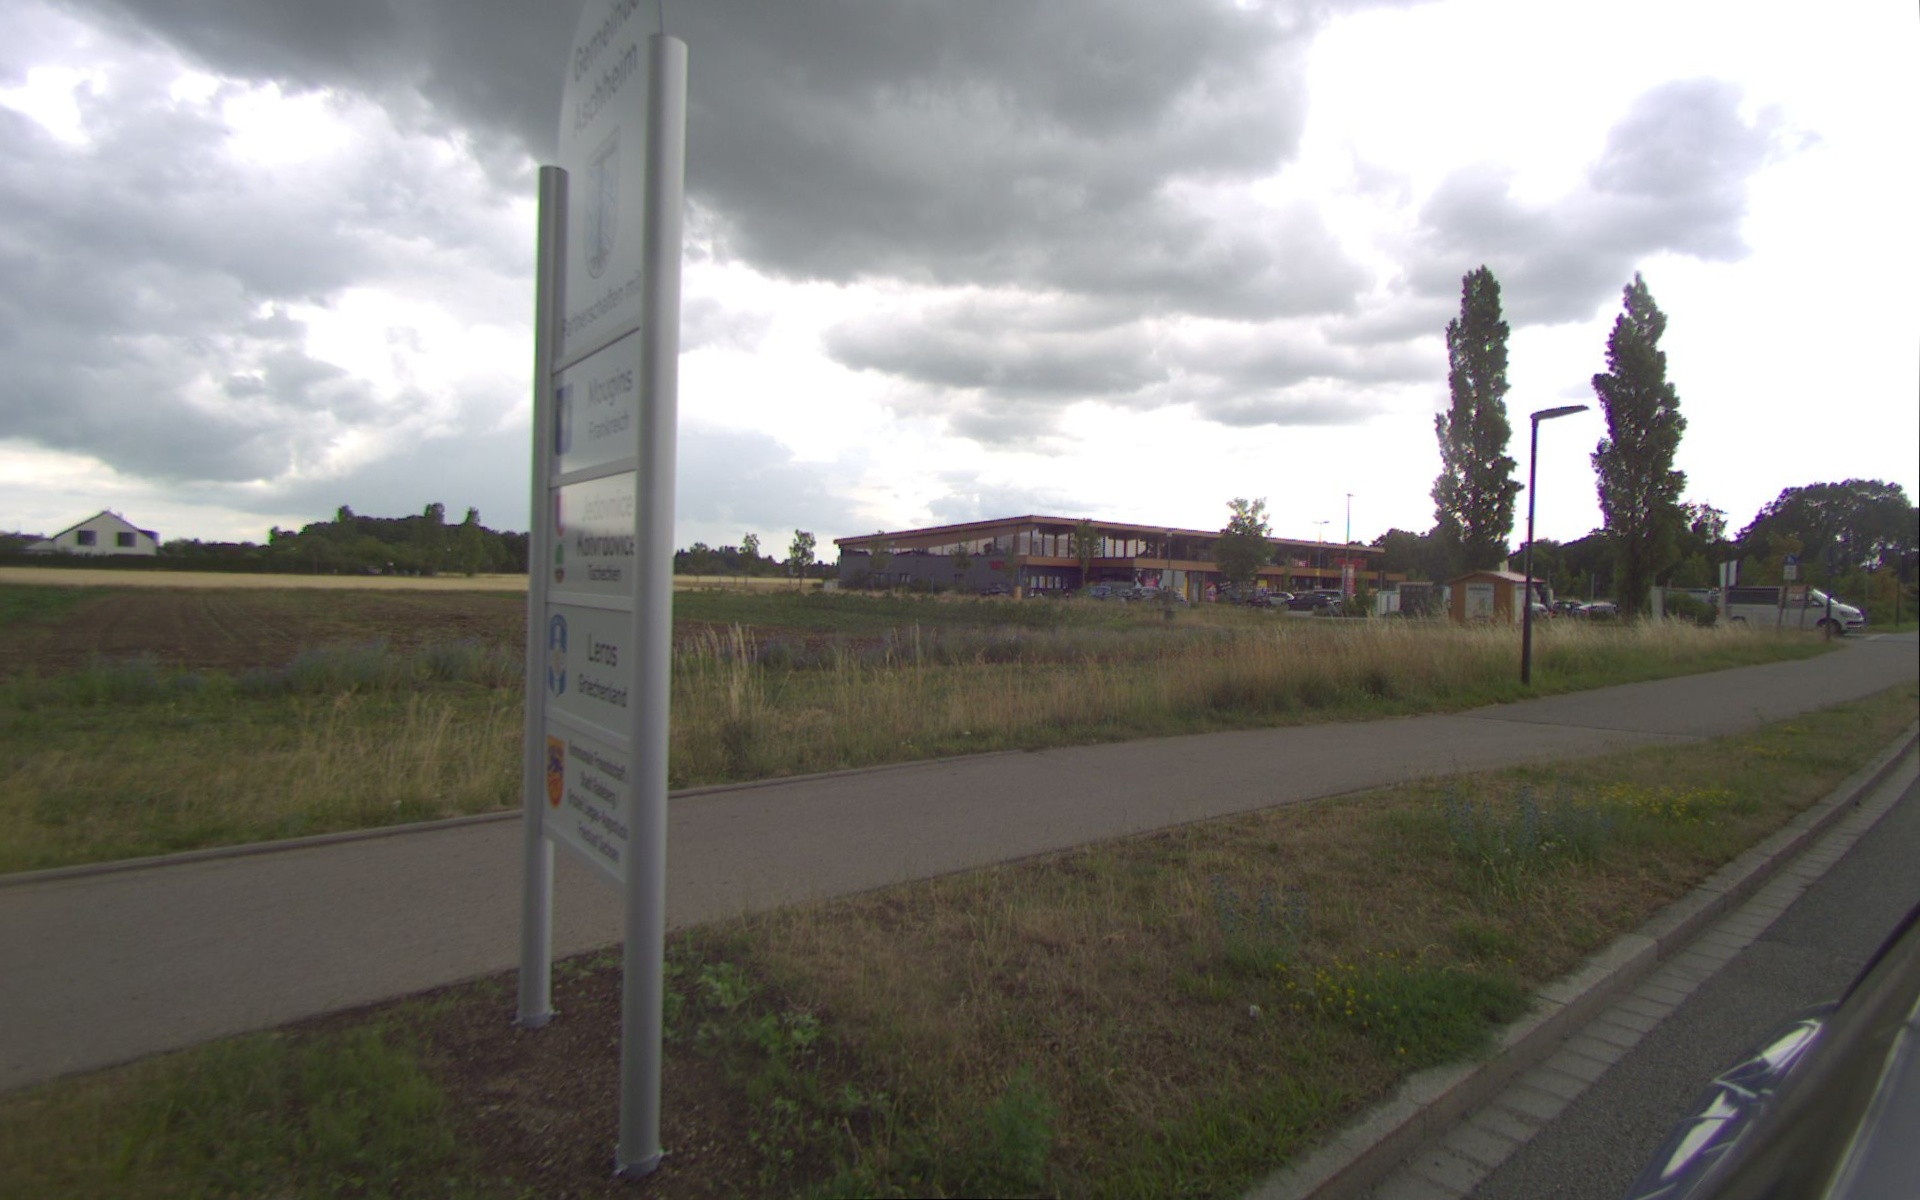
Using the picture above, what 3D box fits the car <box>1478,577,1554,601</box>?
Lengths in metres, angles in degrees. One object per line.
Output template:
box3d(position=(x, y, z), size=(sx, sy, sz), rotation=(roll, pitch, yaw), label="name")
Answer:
box3d(position=(48.221, -0.950, 87.896), size=(5.510, 2.039, 1.968), rotation=(0, 0, 44), label="car")

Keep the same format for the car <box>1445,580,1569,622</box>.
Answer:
box3d(position=(28.039, 0.048, 52.039), size=(1.964, 2.039, 5.312), rotation=(-1, 0, -39), label="car")

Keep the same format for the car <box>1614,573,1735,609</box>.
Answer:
box3d(position=(41.622, -0.512, 59.056), size=(5.510, 2.039, 1.968), rotation=(0, 0, 44), label="car")

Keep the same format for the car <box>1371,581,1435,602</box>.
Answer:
box3d(position=(44.089, -0.796, 100.790), size=(5.510, 2.039, 1.968), rotation=(0, 0, 44), label="car")

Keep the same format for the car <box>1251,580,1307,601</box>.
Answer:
box3d(position=(30.863, -0.897, 97.908), size=(4.840, 2.039, 1.969), rotation=(0, 0, 43), label="car")

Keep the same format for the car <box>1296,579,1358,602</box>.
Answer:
box3d(position=(32.834, -0.851, 90.687), size=(4.840, 2.039, 1.969), rotation=(0, 0, 43), label="car")

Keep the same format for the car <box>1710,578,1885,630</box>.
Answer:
box3d(position=(35.127, 0.120, 42.574), size=(2.516, 2.039, 5.312), rotation=(-1, 0, -39), label="car")

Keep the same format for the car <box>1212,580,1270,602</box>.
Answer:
box3d(position=(25.947, -0.807, 93.462), size=(4.840, 2.039, 1.969), rotation=(0, 0, 43), label="car")
